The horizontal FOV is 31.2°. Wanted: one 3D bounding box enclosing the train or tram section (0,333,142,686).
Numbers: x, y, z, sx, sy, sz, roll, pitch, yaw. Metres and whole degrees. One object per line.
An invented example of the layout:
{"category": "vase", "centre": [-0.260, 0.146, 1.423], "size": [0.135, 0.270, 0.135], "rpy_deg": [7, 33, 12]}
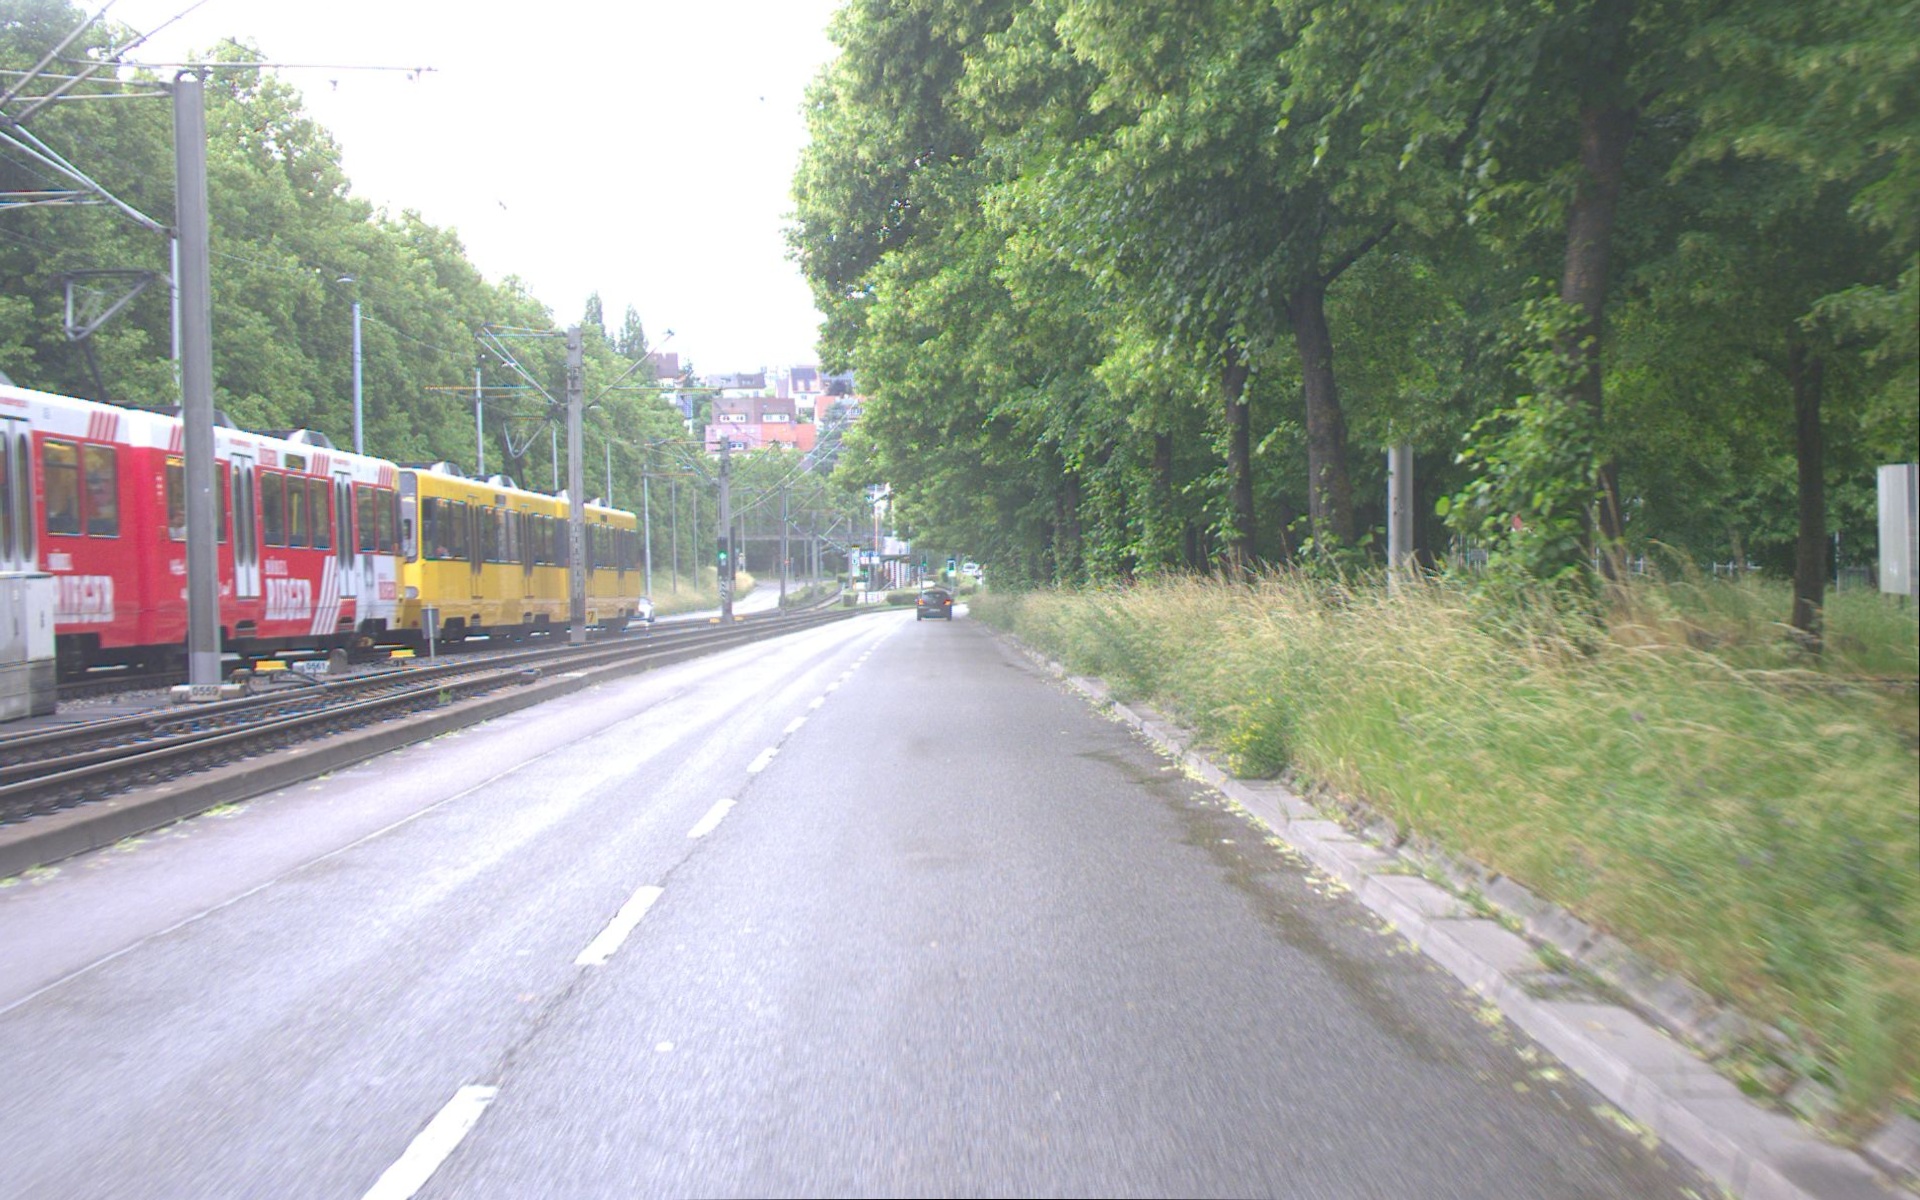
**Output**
{"category": "train or tram section", "centre": [-11.865, -0.914, 33.471], "size": [2.967, 3.798, 18.614], "rpy_deg": [0, 1, 1]}

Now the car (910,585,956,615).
{"category": "car", "centre": [-1.291, -0.013, 164.706], "size": [2.194, 1.325, 4.000], "rpy_deg": [0, 1, -1]}

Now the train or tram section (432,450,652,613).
{"category": "train or tram section", "centre": [-10.662, -1.752, 90.264], "size": [2.967, 3.798, 19.520], "rpy_deg": [0, 1, 1]}

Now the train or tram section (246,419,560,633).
{"category": "train or tram section", "centre": [-11.060, -1.455, 70.938], "size": [2.967, 3.798, 19.098], "rpy_deg": [0, 1, 1]}

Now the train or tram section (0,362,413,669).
{"category": "train or tram section", "centre": [-11.456, -1.182, 52.069], "size": [2.967, 3.798, 18.614], "rpy_deg": [0, 1, 1]}
